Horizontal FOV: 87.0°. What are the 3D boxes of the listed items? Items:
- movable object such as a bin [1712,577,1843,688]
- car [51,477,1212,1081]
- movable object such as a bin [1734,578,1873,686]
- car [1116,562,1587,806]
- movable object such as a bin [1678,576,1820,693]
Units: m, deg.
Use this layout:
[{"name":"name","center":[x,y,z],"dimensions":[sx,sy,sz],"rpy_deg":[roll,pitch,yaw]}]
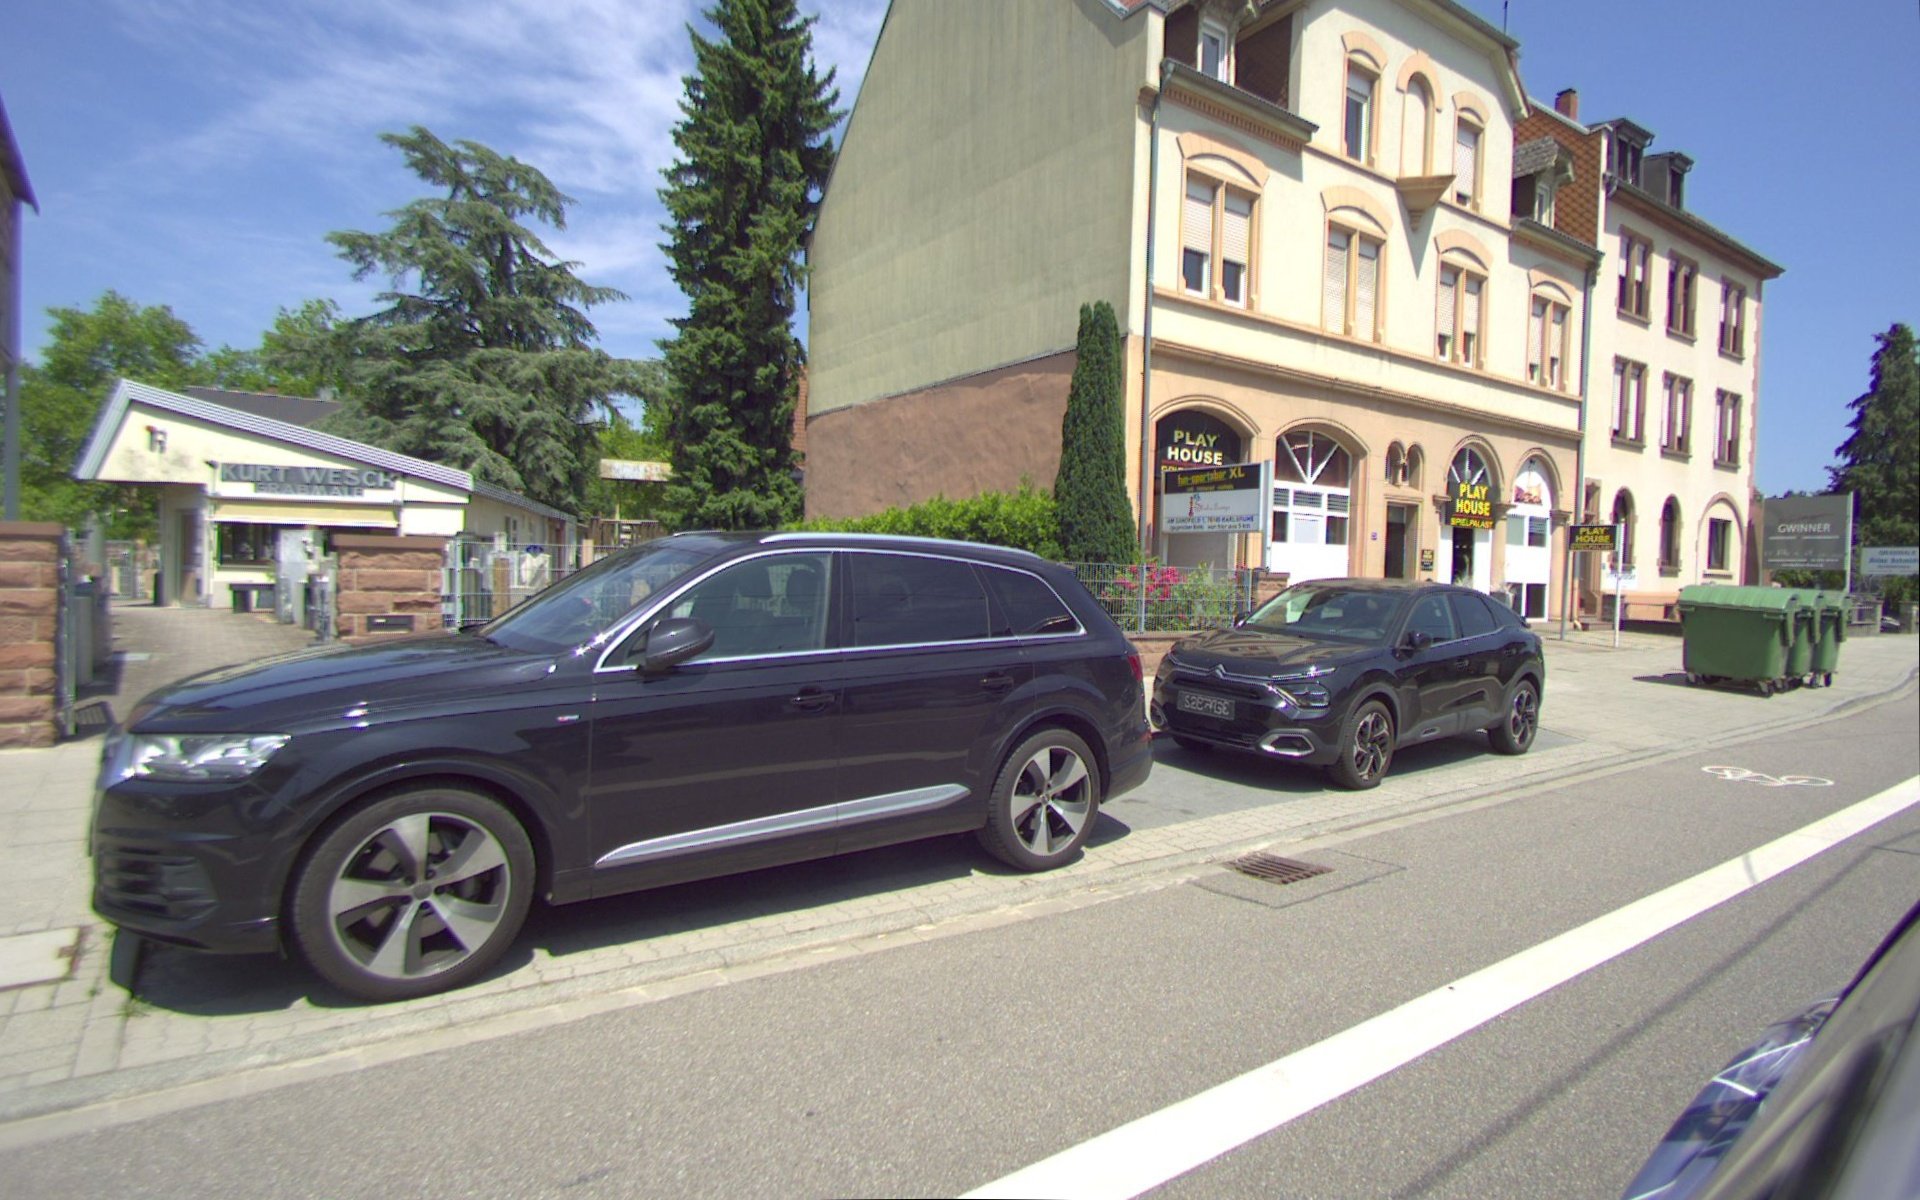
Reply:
[{"name":"movable object such as a bin","center":[12.002,0.442,14.873],"dimensions":[1.039,1.472,1.250],"rpy_deg":[0,4,-41]},{"name":"car","center":[-1.138,0.439,5.125],"dimensions":[4.988,1.713,1.931],"rpy_deg":[0,4,-37]},{"name":"movable object such as a bin","center":[12.901,0.444,15.487],"dimensions":[1.119,1.472,1.395],"rpy_deg":[0,4,-41]},{"name":"car","center":[3.556,0.513,8.835],"dimensions":[4.386,1.566,1.778],"rpy_deg":[-1,4,-38]},{"name":"movable object such as a bin","center":[11.127,0.444,14.292],"dimensions":[1.039,1.472,1.326],"rpy_deg":[0,4,-41]}]
